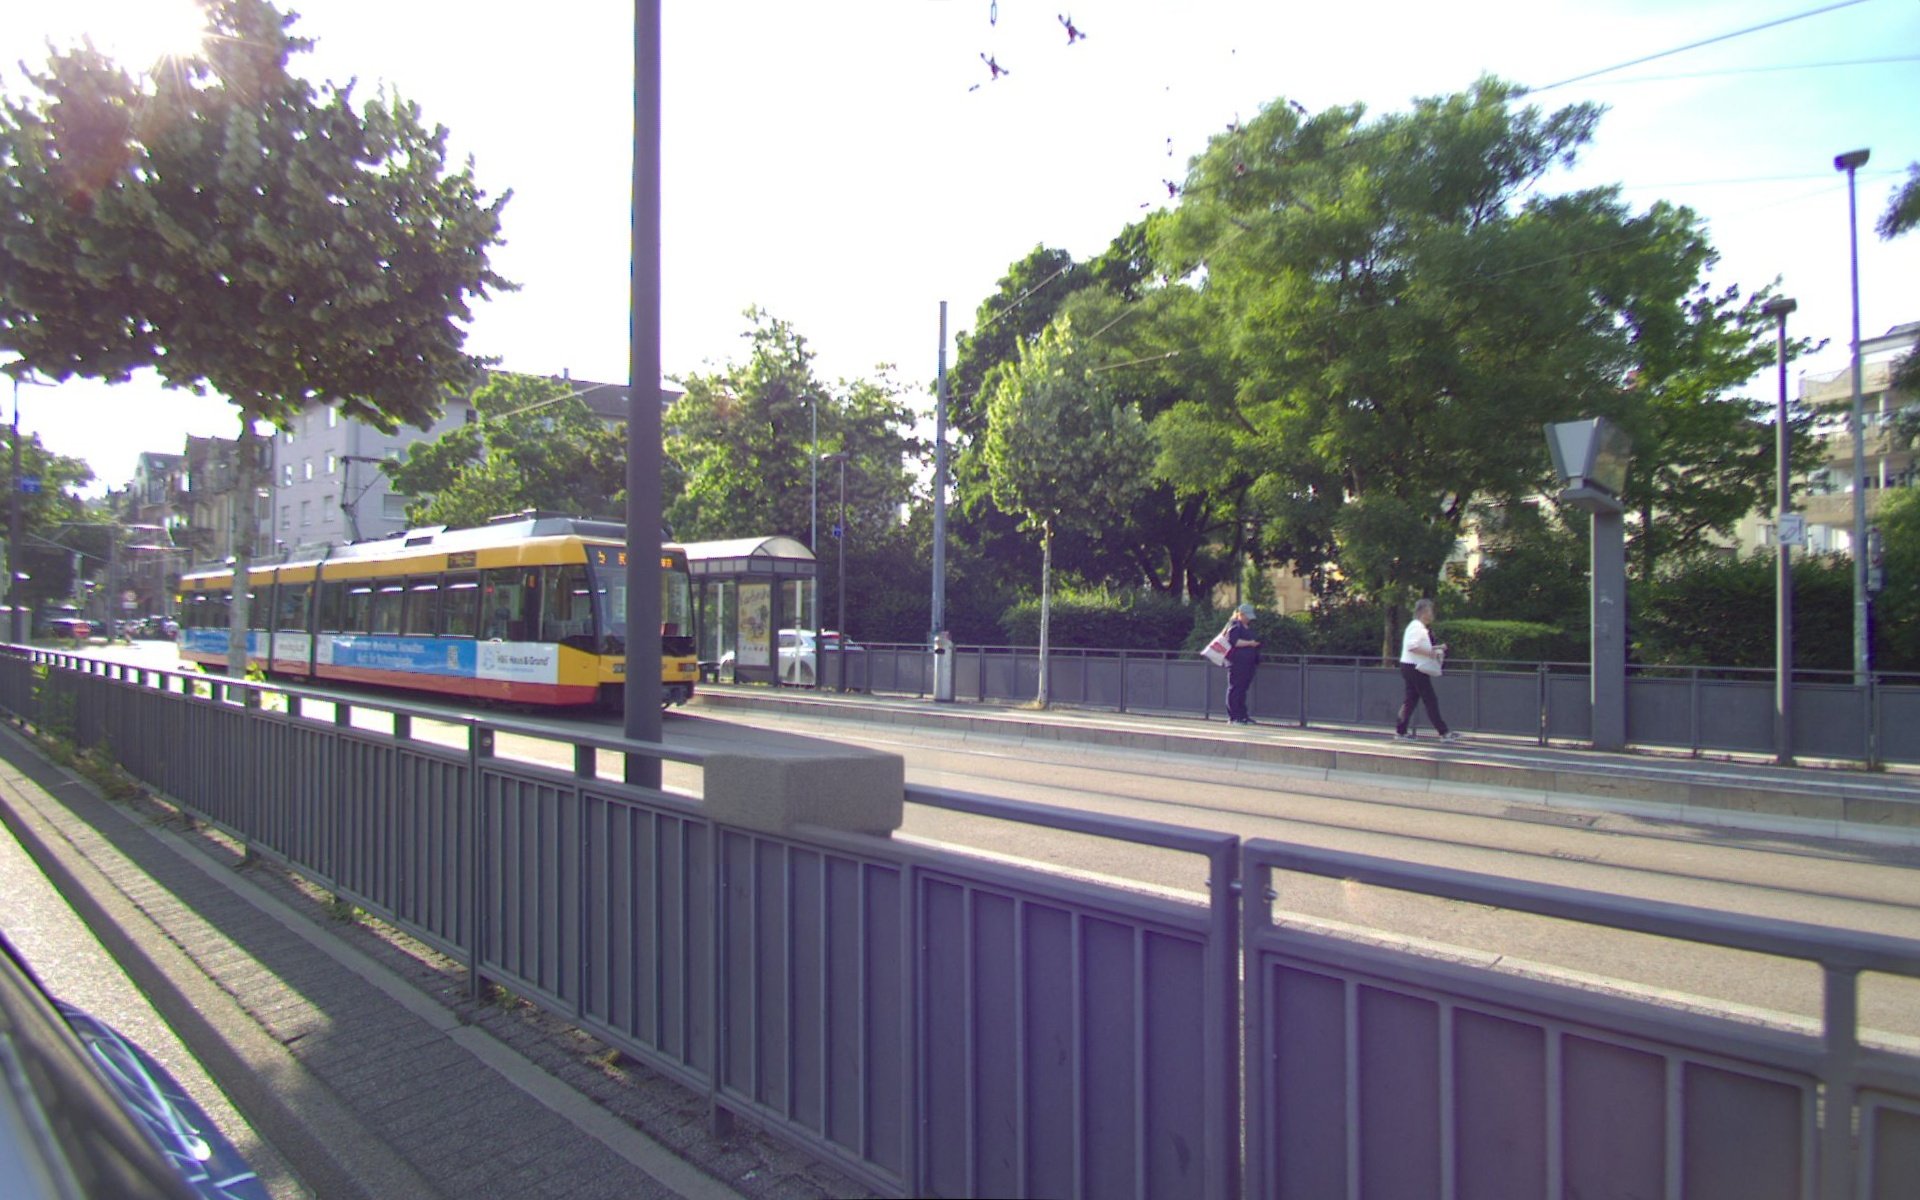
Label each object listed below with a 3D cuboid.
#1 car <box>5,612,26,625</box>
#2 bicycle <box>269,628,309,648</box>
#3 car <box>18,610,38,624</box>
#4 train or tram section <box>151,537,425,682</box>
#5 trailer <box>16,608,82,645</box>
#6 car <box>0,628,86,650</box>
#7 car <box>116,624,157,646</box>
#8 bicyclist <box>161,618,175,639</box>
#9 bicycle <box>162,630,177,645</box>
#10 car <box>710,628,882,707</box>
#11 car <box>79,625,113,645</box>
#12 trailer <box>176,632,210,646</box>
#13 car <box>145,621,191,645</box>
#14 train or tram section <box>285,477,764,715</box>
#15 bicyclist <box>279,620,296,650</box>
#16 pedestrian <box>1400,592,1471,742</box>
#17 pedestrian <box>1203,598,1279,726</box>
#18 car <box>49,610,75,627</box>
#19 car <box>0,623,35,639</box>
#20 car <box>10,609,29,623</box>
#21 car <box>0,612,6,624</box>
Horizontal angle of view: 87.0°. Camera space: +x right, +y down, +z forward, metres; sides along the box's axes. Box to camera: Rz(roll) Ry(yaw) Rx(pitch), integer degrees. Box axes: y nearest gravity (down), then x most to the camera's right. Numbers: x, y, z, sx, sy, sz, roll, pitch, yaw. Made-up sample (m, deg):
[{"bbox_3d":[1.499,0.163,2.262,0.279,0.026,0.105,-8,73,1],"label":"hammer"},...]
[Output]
[{"bbox_3d":[-149.405,2.967,160.088,3.998,2.029,1.973,-2,-2,41],"label":"car"},{"bbox_3d":[-38.501,2.188,58.072,1.885,1.119,0.737,2,-2,-35],"label":"bicycle"},{"bbox_3d":[-132.232,2.399,143.523,1.970,2.029,4.002,1,-2,-45],"label":"car"},{"bbox_3d":[-20.727,0.395,30.479,14.524,3.506,3.129,-2,-2,41],"label":"train or tram section"},{"bbox_3d":[-61.115,1.768,67.953,2.817,2.410,1.728,0,-2,-17],"label":"trailer"},{"bbox_3d":[-59.471,2.537,65.652,3.888,1.370,1.676,1,-2,-11],"label":"car"},{"bbox_3d":[-69.364,2.952,85.242,4.612,1.763,2.141,-2,-2,44],"label":"car"},{"bbox_3d":[-53.625,1.938,68.510,0.717,1.424,0.643,-2,-2,44],"label":"bicyclist"},{"bbox_3d":[-53.413,2.532,68.375,0.535,1.026,2.251,1,-2,-45],"label":"bicycle"},{"bbox_3d":[-3.992,1.547,24.312,3.997,1.697,1.973,-2,-2,41],"label":"car"},{"bbox_3d":[-85.028,3.437,99.559,4.612,1.915,2.141,-2,-2,44],"label":"car"},{"bbox_3d":[-55.468,2.801,73.184,2.879,0.903,1.425,-2,2,42],"label":"trailer"},{"bbox_3d":[-60.546,2.481,77.318,4.719,1.763,2.141,-2,-2,44],"label":"car"},{"bbox_3d":[-9.820,0.100,20.863,14.463,3.506,3.129,-2,-2,41],"label":"train or tram section"},{"bbox_3d":[-38.575,2.001,58.010,0.760,1.655,0.796,2,-2,-35],"label":"bicyclist"},{"bbox_3d":[5.433,0.758,11.562,0.606,1.654,0.576,-2,-4,37],"label":"pedestrian"},{"bbox_3d":[3.779,0.817,13.596,0.860,1.654,0.660,-1,-1,25],"label":"pedestrian"},{"bbox_3d":[-109.133,2.259,122.975,3.999,2.029,1.972,-2,-2,42],"label":"car"},{"bbox_3d":[-85.029,2.752,89.574,4.205,1.433,2.175,0,-1,-7],"label":"car"},{"bbox_3d":[-140.466,2.405,151.128,1.970,2.029,4.002,1,-2,-45],"label":"car"},{"bbox_3d":[-165.953,3.062,174.313,3.998,2.029,1.973,-2,-2,41],"label":"car"}]
